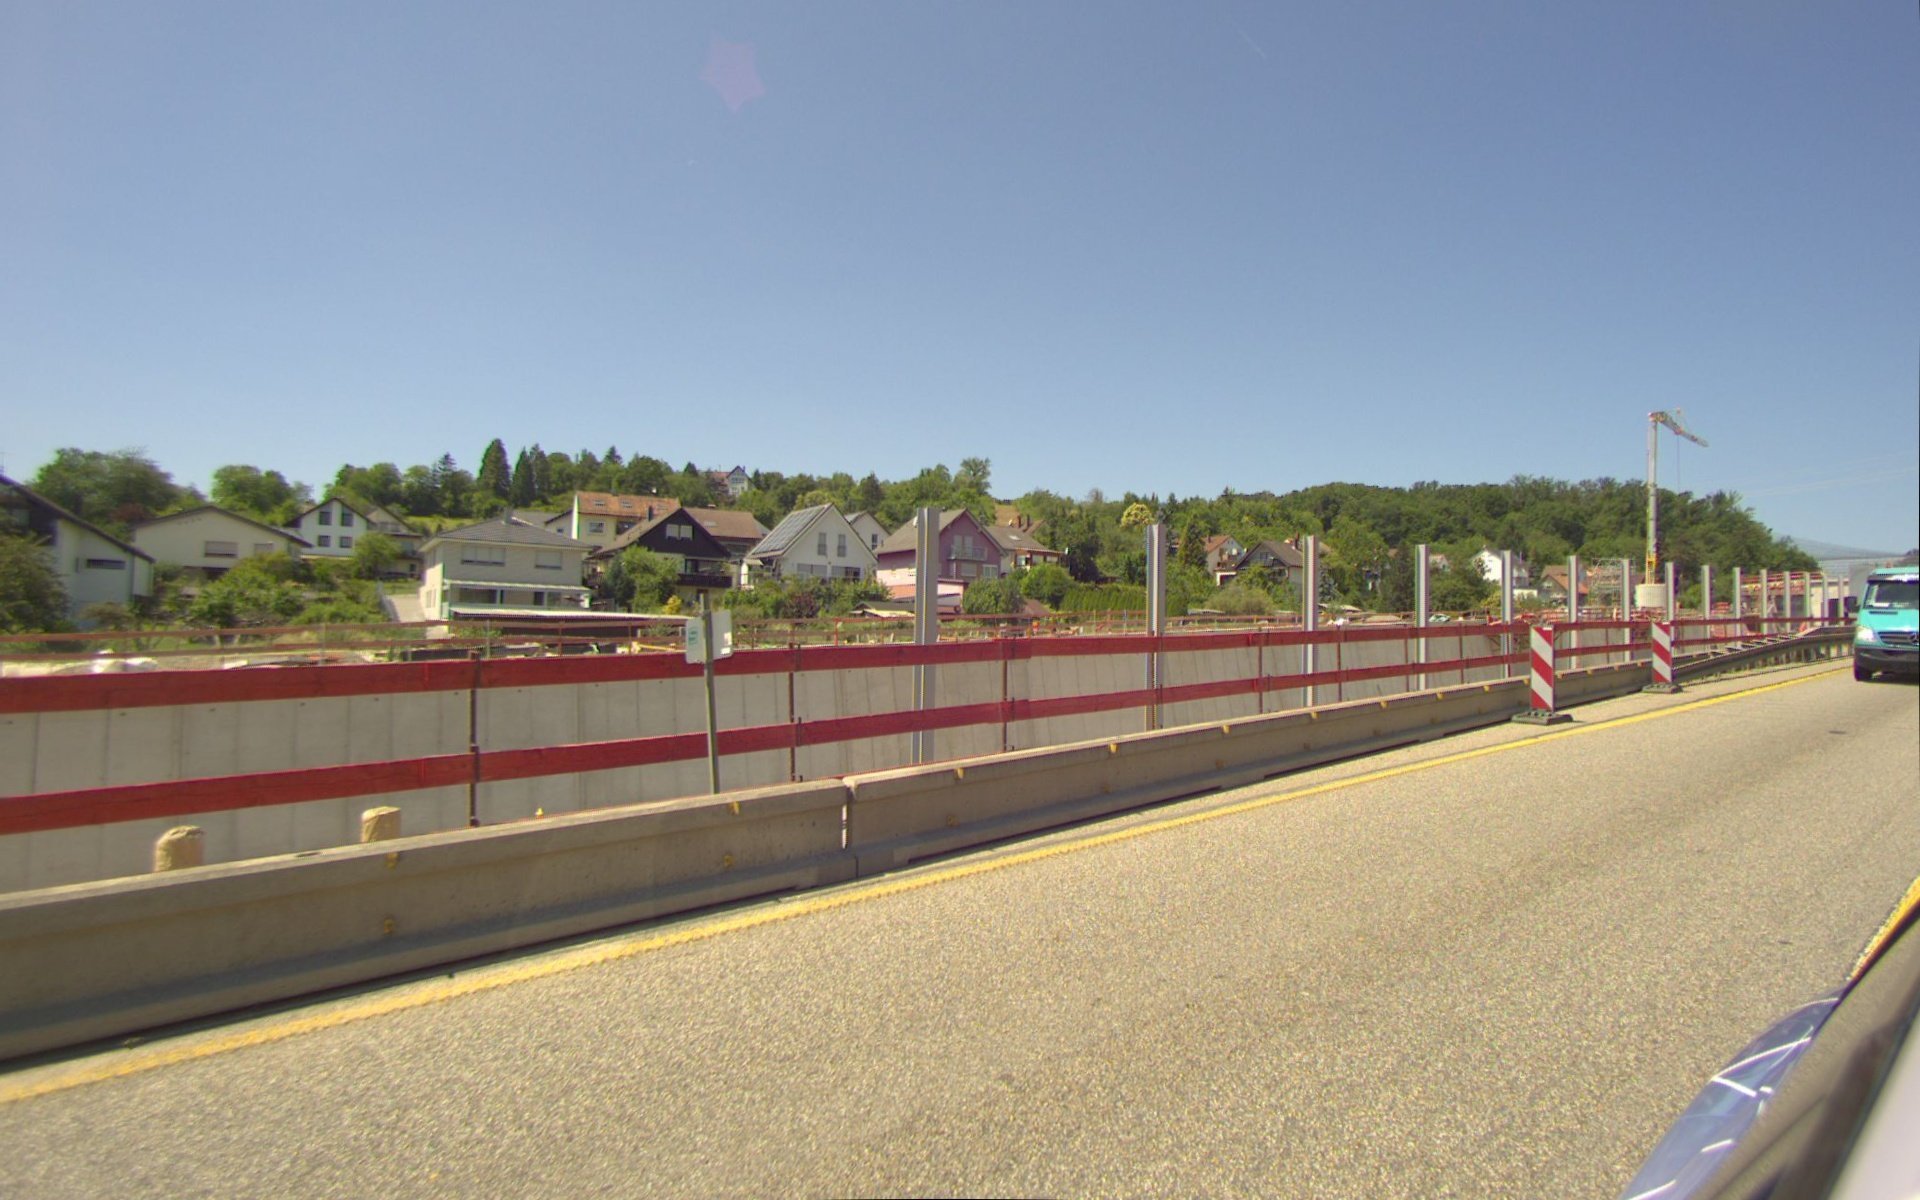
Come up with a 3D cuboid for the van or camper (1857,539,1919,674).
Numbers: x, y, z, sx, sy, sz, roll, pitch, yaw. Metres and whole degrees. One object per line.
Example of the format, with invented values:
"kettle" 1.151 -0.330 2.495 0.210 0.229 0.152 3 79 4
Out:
"van or camper" 20.840 0.149 21.197 7.536 2.504 2.096 1 0 -41
